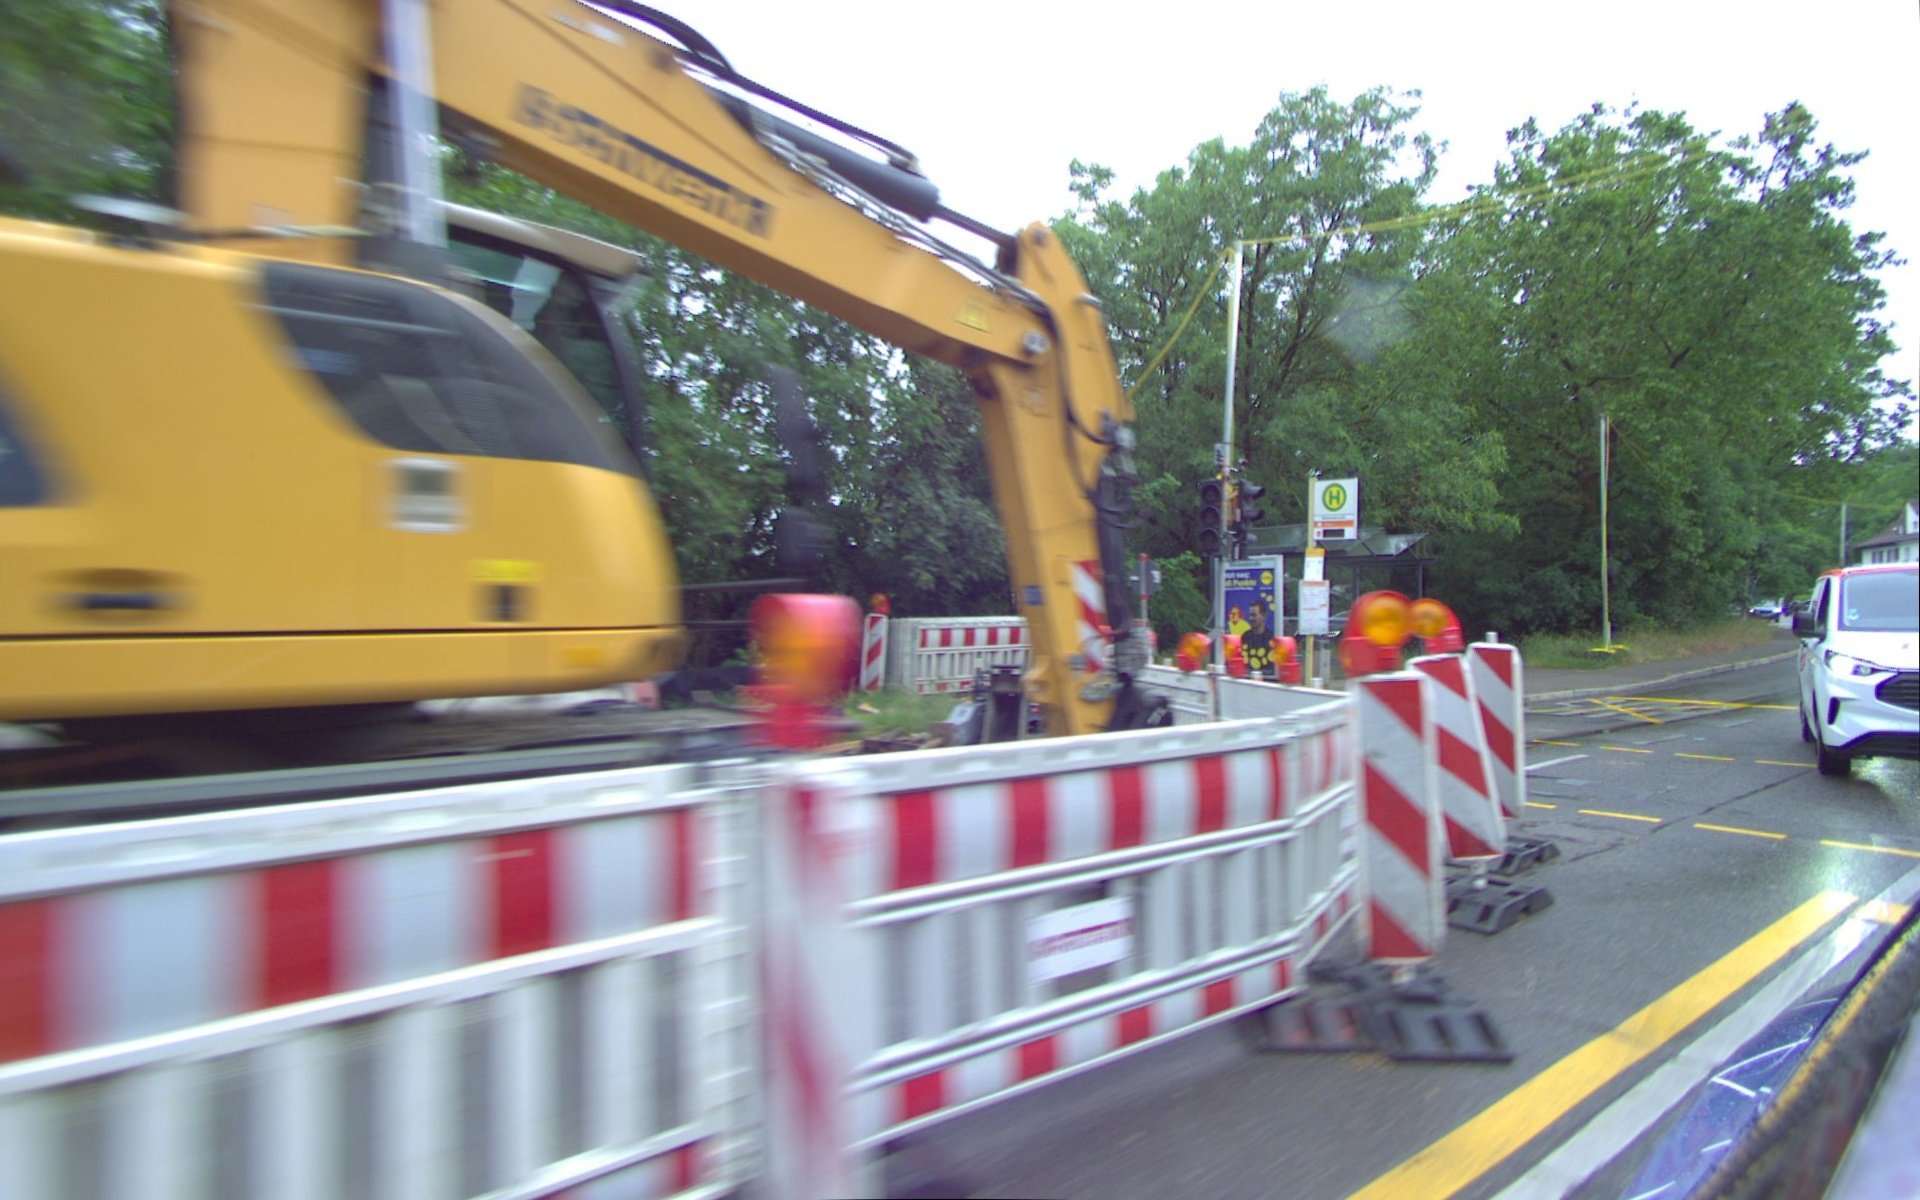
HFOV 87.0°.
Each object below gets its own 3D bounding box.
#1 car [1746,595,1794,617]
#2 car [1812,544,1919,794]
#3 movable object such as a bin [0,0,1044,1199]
[{"bbox_3d":[56.438,0.414,70.496,3.560,1.353,1.824,-1,-1,-38],"label":"car"},{"bbox_3d":[9.341,0.480,9.407,2.038,1.918,5.132,-3,-1,41],"label":"car"},{"bbox_3d":[-2.337,-0.687,3.422,4.401,4.224,2.888,1,-1,-35],"label":"movable object such as a bin"}]
